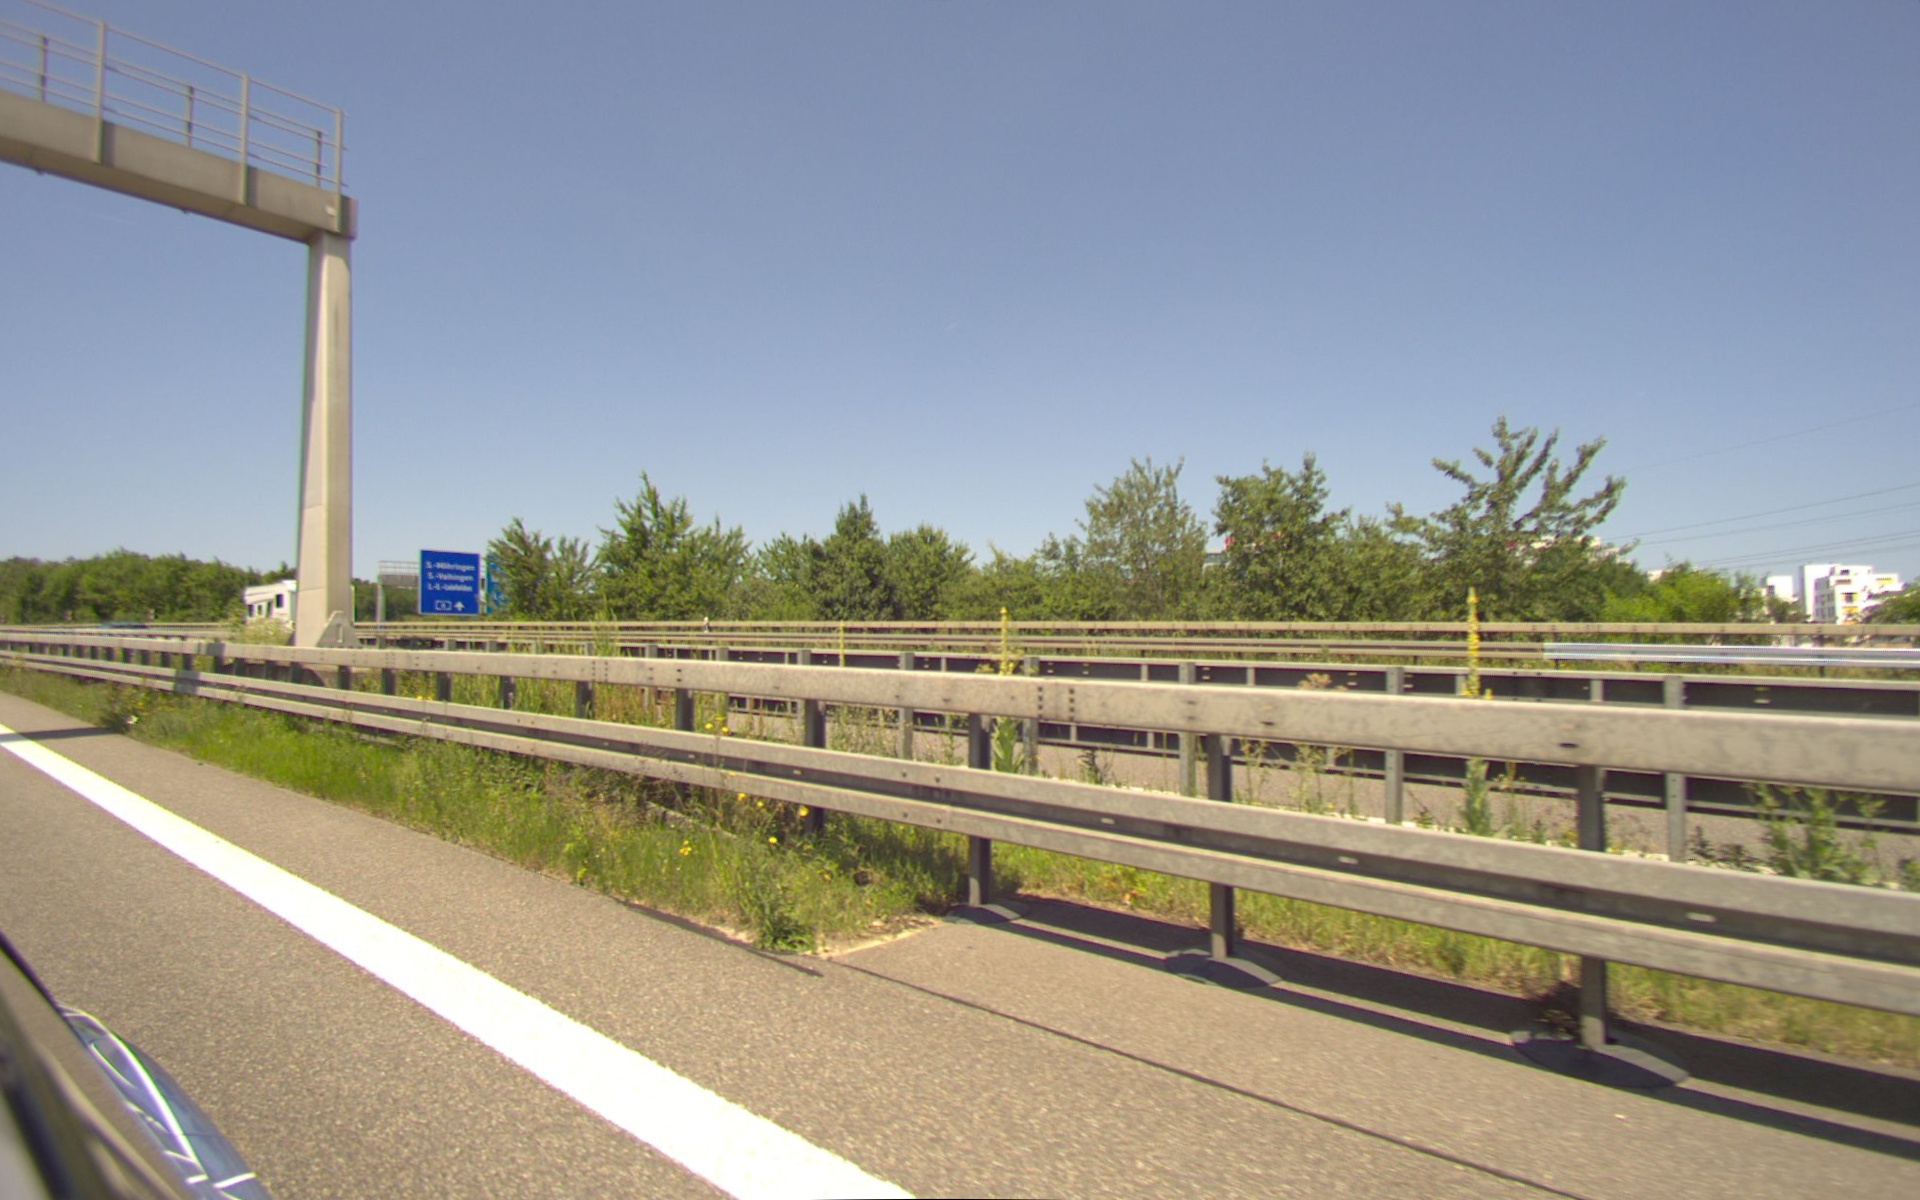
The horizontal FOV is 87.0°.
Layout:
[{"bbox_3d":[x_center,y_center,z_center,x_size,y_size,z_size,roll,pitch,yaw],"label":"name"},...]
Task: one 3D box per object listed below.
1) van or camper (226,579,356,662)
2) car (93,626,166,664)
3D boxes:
[{"bbox_3d":[-27.762,0.860,41.800,8.118,3.110,2.419,-2,-1,41],"label":"van or camper"},{"bbox_3d":[-33.544,1.790,40.820,4.261,1.426,1.581,-2,-1,41],"label":"car"}]
